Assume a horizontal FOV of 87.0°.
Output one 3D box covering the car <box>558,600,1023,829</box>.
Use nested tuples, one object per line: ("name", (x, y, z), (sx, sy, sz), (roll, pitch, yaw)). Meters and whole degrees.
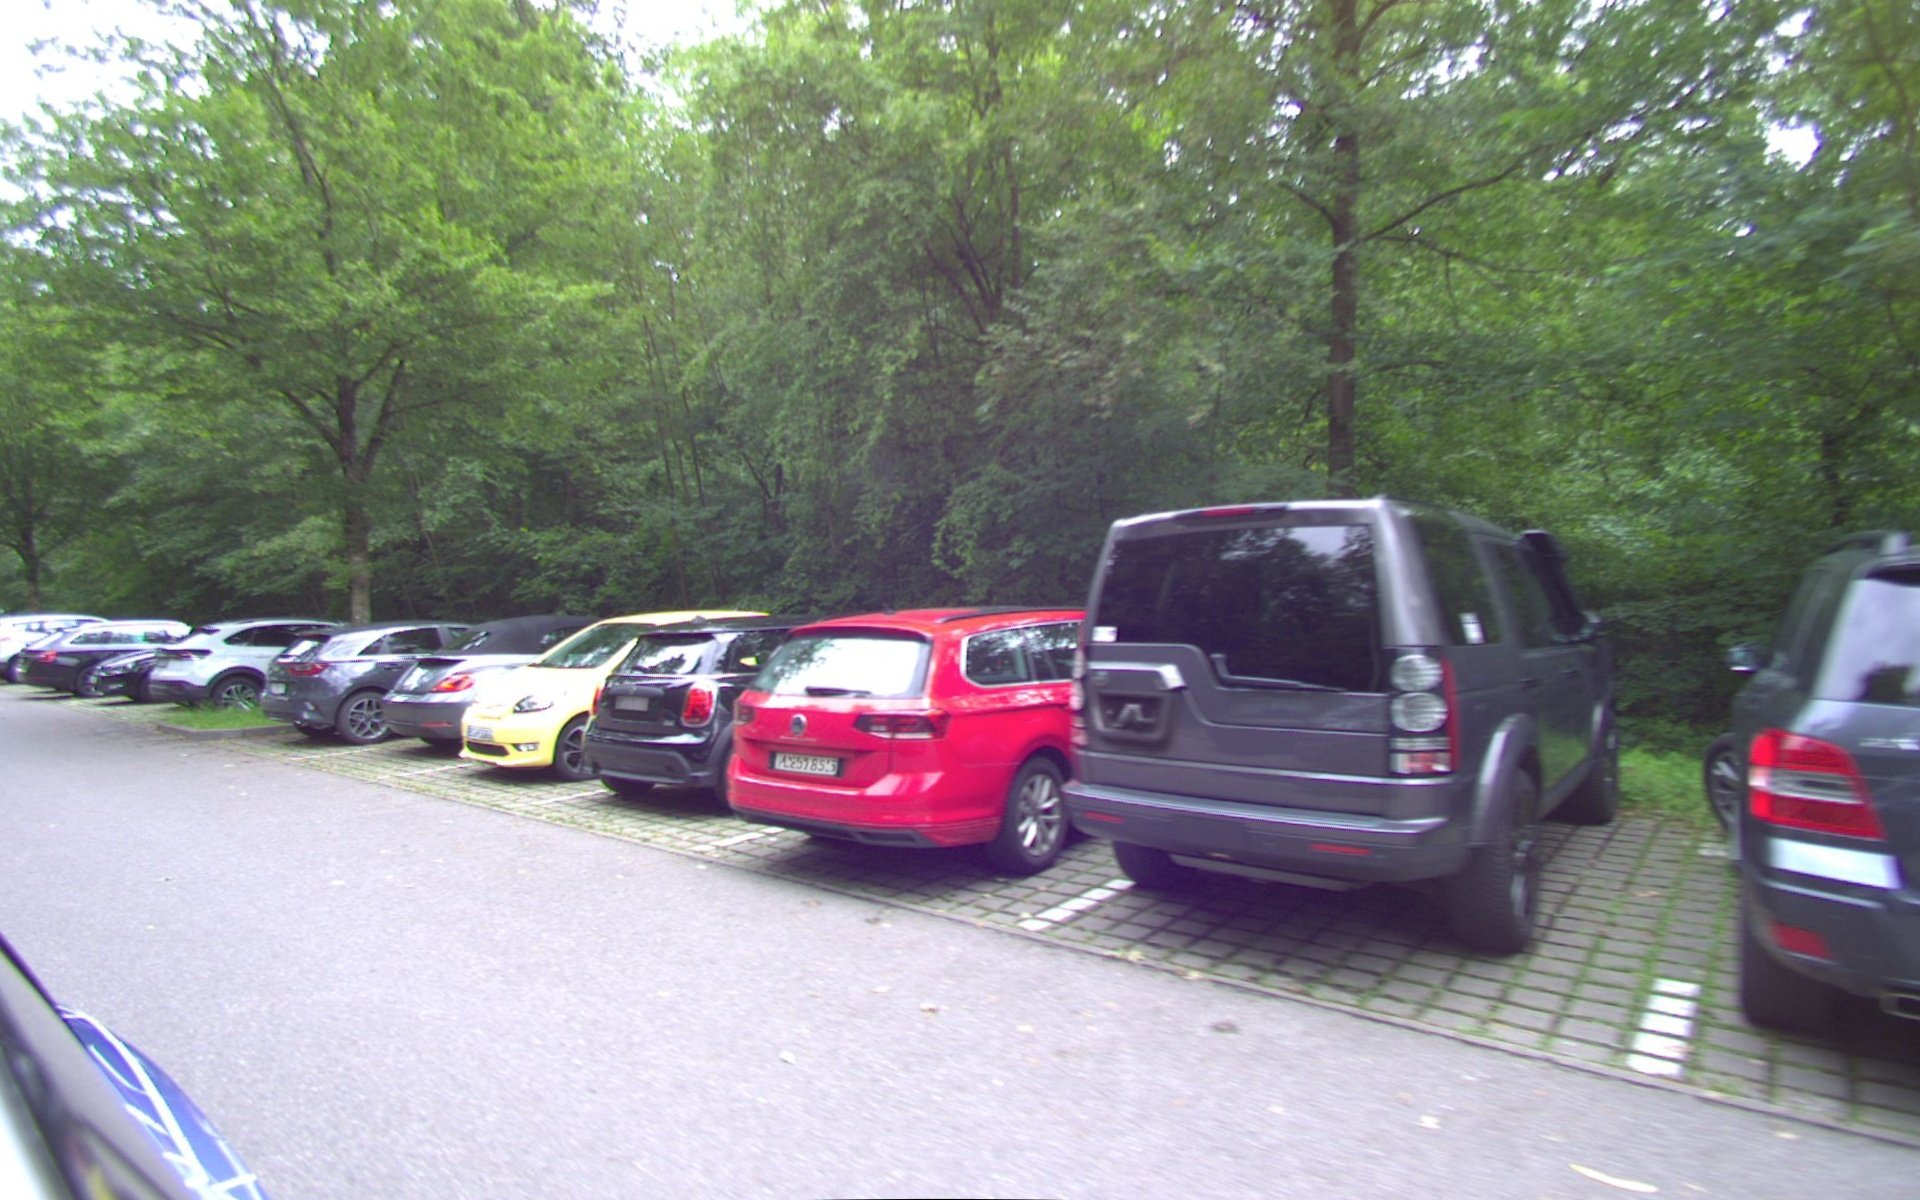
("car", (-1.247, 0.790, 8.910), (1.669, 1.449, 3.950), (-2, 0, 37))

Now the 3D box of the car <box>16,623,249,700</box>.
("car", (-18.893, 1.337, 23.239), (1.648, 1.446, 3.945), (0, 1, 41))

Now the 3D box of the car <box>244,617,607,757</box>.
("car", (-7.007, 1.035, 13.599), (1.713, 1.449, 3.947), (-2, 0, 39))

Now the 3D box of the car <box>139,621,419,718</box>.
("car", (-12.357, 1.182, 18.555), (1.701, 1.446, 3.945), (-2, 0, 41))

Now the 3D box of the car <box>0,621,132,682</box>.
("car", (-26.750, 1.474, 29.400), (1.813, 1.675, 3.946), (-2, -1, 40))

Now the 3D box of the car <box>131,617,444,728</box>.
("car", (-10.894, 1.091, 16.629), (1.713, 1.478, 3.948), (-2, 0, 39))

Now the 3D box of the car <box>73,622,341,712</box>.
("car", (-14.644, 1.230, 19.851), (1.676, 1.446, 3.945), (-2, 0, 41))

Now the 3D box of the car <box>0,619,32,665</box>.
("car", (-40.023, 1.713, 40.588), (1.816, 1.828, 3.948), (-2, -1, 39))

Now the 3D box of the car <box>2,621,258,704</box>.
("car", (-17.392, 1.236, 21.345), (1.676, 1.446, 3.945), (-2, 0, 41))

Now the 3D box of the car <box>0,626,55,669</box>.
("car", (-36.232, 1.778, 37.418), (1.769, 1.527, 3.947), (-2, -1, 40))

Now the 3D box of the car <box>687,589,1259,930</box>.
("car", (0.374, 0.733, 6.736), (1.777, 1.487, 3.950), (-2, 0, 37))

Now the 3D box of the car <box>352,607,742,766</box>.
("car", (-4.738, 0.883, 12.072), (1.732, 1.449, 3.947), (-2, 0, 39))

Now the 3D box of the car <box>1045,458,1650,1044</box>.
("car", (2.335, 0.455, 5.354), (1.811, 1.876, 3.948), (-2, 0, 39))

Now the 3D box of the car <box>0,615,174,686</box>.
("car", (-23.086, 1.271, 26.245), (1.812, 1.675, 3.949), (-2, -1, 38))

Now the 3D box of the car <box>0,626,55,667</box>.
("car", (-38.227, 1.843, 39.650), (1.816, 1.527, 3.947), (-2, -1, 40))

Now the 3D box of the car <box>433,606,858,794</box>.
("car", (-3.045, 0.861, 10.478), (1.616, 1.449, 3.947), (-2, 0, 39))

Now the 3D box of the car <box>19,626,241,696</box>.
("car", (-20.420, 1.452, 25.031), (1.812, 1.432, 3.949), (-2, 0, 38))

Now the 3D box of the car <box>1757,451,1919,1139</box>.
("car", (4.183, 0.441, 3.768), (1.821, 1.779, 3.949), (-2, 0, 38))

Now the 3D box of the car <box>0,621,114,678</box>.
("car", (-28.647, 1.495, 30.975), (1.694, 1.675, 3.949), (-2, -1, 38))
